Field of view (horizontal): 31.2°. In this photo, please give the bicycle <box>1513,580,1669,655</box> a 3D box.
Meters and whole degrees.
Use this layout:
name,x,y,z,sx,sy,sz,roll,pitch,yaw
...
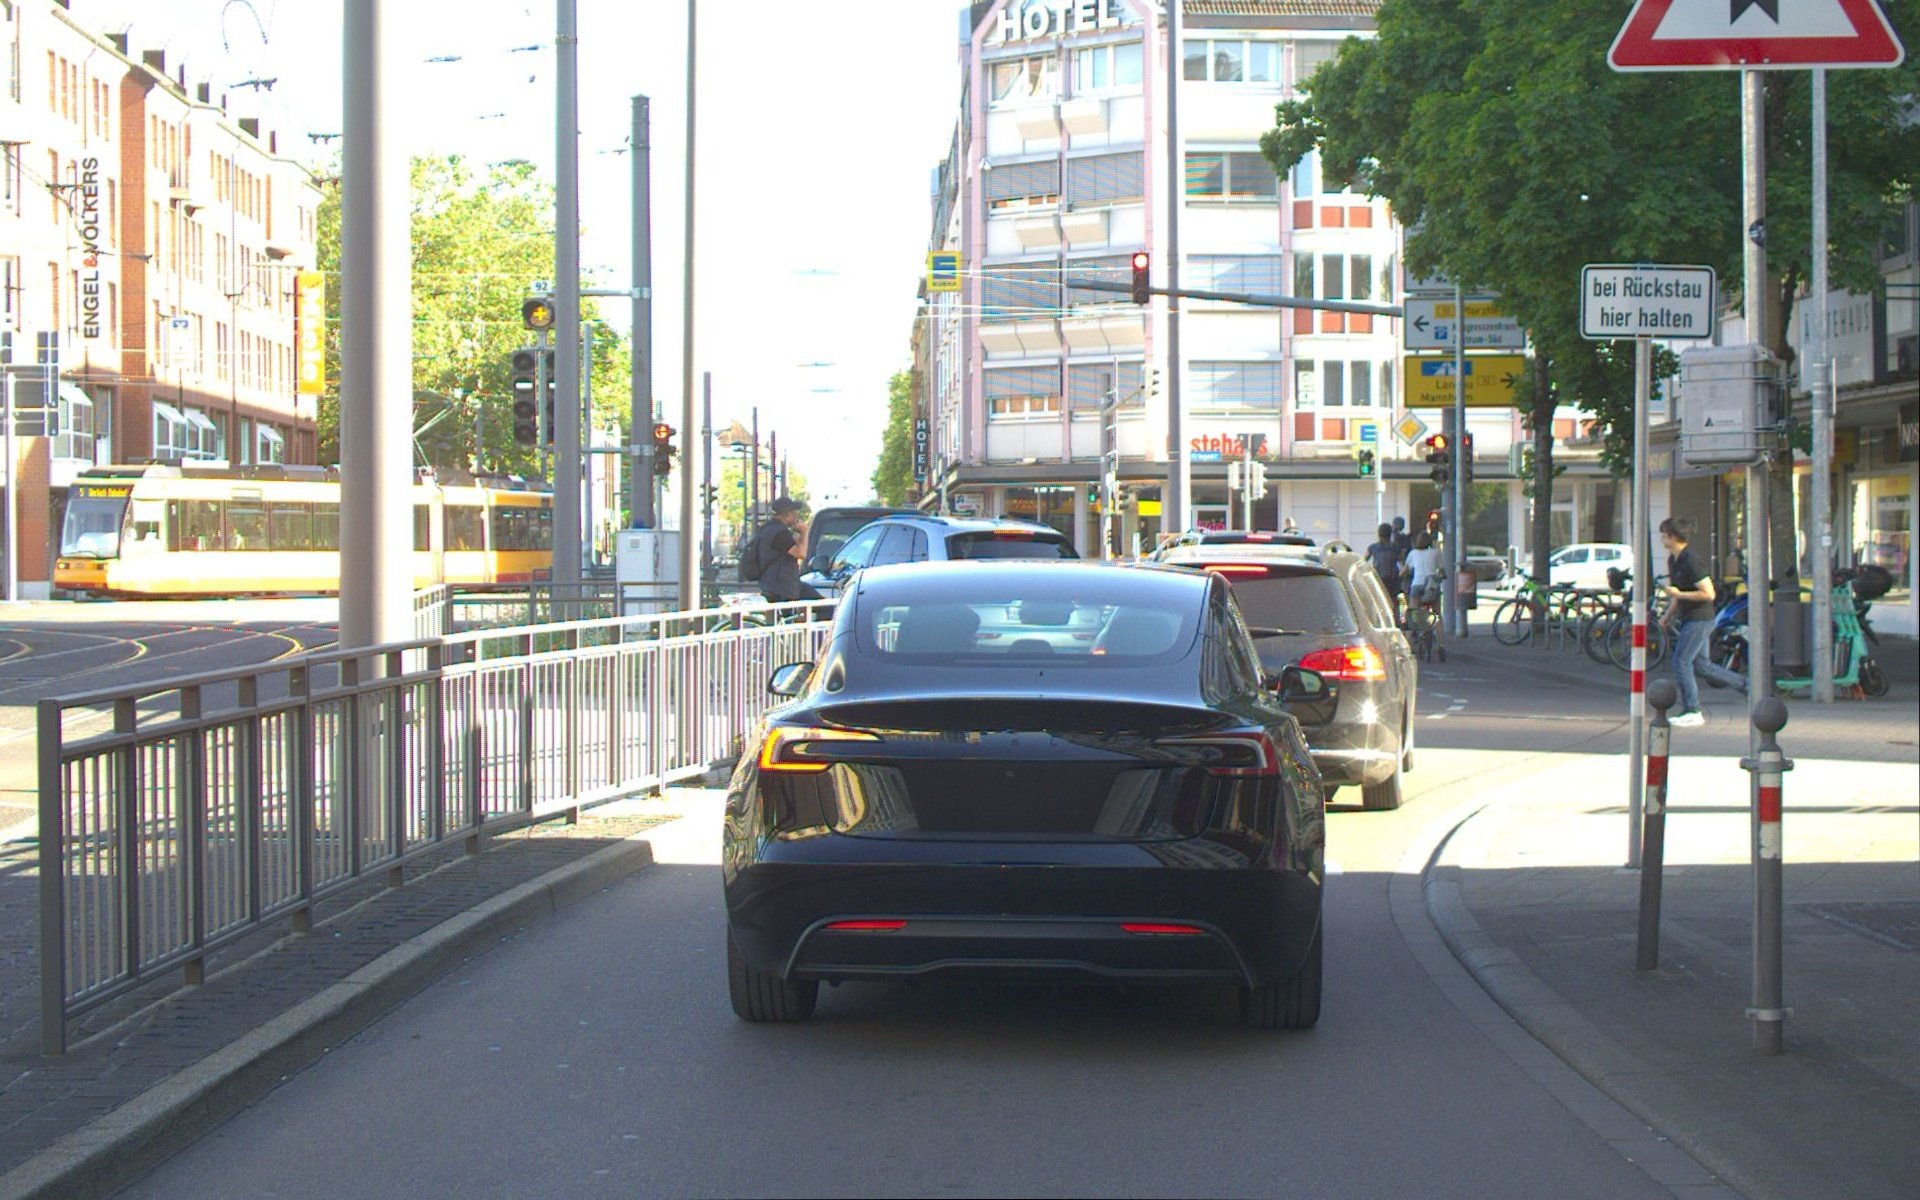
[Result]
name,x,y,z,sx,sy,sz,roll,pitch,yaw
bicycle,8.240,0.224,44.927,1.924,0.947,0.526,1,0,0

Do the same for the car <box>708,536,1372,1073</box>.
name,x,y,z,sx,sy,sz,roll,pitch,yaw
car,0.150,0.559,11.629,1.849,1.479,3.787,1,1,-2

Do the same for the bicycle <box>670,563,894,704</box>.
name,x,y,z,sx,sy,sz,roll,pitch,yaw
bicycle,-1.458,0.268,28.064,1.727,1.084,0.678,2,0,-9

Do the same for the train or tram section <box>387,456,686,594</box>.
name,x,y,z,sx,sy,sz,roll,pitch,yaw
train or tram section,-12.231,-2.080,101.704,2.639,3.706,15.373,2,1,17

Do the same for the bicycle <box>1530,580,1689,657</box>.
name,x,y,z,sx,sy,sz,roll,pitch,yaw
bicycle,8.293,0.237,43.912,1.924,0.947,0.526,1,0,0

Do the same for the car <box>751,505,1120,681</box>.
name,x,y,z,sx,sy,sz,roll,pitch,yaw
car,-0.315,-0.104,32.411,1.783,1.514,4.219,2,1,-26

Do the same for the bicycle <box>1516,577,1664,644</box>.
name,x,y,z,sx,sy,sz,roll,pitch,yaw
bicycle,8.620,0.140,47.050,1.924,0.887,0.526,1,0,0

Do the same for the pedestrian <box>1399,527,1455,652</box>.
name,x,y,z,sx,sy,sz,roll,pitch,yaw
pedestrian,6.061,-0.141,44.663,0.629,1.608,0.643,1,1,3

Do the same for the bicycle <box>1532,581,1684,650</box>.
name,x,y,z,sx,sy,sz,roll,pitch,yaw
bicycle,8.651,0.207,45.926,1.924,0.885,0.526,1,0,0

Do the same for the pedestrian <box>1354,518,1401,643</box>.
name,x,y,z,sx,sy,sz,roll,pitch,yaw
pedestrian,5.710,-0.273,47.003,0.562,1.677,0.750,1,1,4

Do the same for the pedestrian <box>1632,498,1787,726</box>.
name,x,y,z,sx,sy,sz,roll,pitch,yaw
pedestrian,5.851,0.093,26.848,1.004,1.736,0.529,2,1,-26

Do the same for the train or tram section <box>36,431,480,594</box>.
name,x,y,z,sx,sy,sz,roll,pitch,yaw
train or tram section,-17.590,-2.103,87.930,2.678,3.703,14.170,2,1,28

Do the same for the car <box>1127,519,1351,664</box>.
name,x,y,z,sx,sy,sz,roll,pitch,yaw
car,3.123,-0.119,39.191,1.824,1.514,3.650,2,1,-6

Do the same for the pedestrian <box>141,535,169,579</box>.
name,x,y,z,sx,sy,sz,roll,pitch,yaw
pedestrian,-24.626,-1.311,105.180,0.711,1.337,0.666,0,1,-1

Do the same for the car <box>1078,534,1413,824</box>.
name,x,y,z,sx,sy,sz,roll,pitch,yaw
car,1.723,0.365,19.638,1.654,1.413,3.999,2,2,8

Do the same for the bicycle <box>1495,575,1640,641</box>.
name,x,y,z,sx,sy,sz,roll,pitch,yaw
bicycle,8.503,0.109,48.165,1.924,0.887,0.526,1,0,0

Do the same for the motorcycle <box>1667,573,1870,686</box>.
name,x,y,z,sx,sy,sz,roll,pitch,yaw
motorcycle,8.663,0.312,36.872,1.991,1.124,0.596,2,0,-1

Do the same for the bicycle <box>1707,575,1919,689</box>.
name,x,y,z,sx,sy,sz,roll,pitch,yaw
bicycle,8.643,0.319,34.796,2.051,1.118,0.483,1,0,0

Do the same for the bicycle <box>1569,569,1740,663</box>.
name,x,y,z,sx,sy,sz,roll,pitch,yaw
bicycle,8.277,0.188,41.011,1.924,1.093,0.555,1,0,0

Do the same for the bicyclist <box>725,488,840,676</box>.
name,x,y,z,sx,sy,sz,roll,pitch,yaw
bicyclist,-1.456,-0.150,28.088,0.836,1.494,0.560,2,0,-9

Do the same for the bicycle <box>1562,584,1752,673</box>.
name,x,y,z,sx,sy,sz,roll,pitch,yaw
bicycle,7.906,0.318,39.017,2.051,0.979,0.483,1,0,0

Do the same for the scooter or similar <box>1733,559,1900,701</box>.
name,x,y,z,sx,sy,sz,roll,pitch,yaw
scooter or similar,8.073,0.285,32.412,1.408,1.312,0.696,0,-1,-26

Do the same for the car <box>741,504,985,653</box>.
name,x,y,z,sx,sy,sz,roll,pitch,yaw
car,-1.155,-0.265,38.532,1.824,1.514,4.219,2,1,-14
